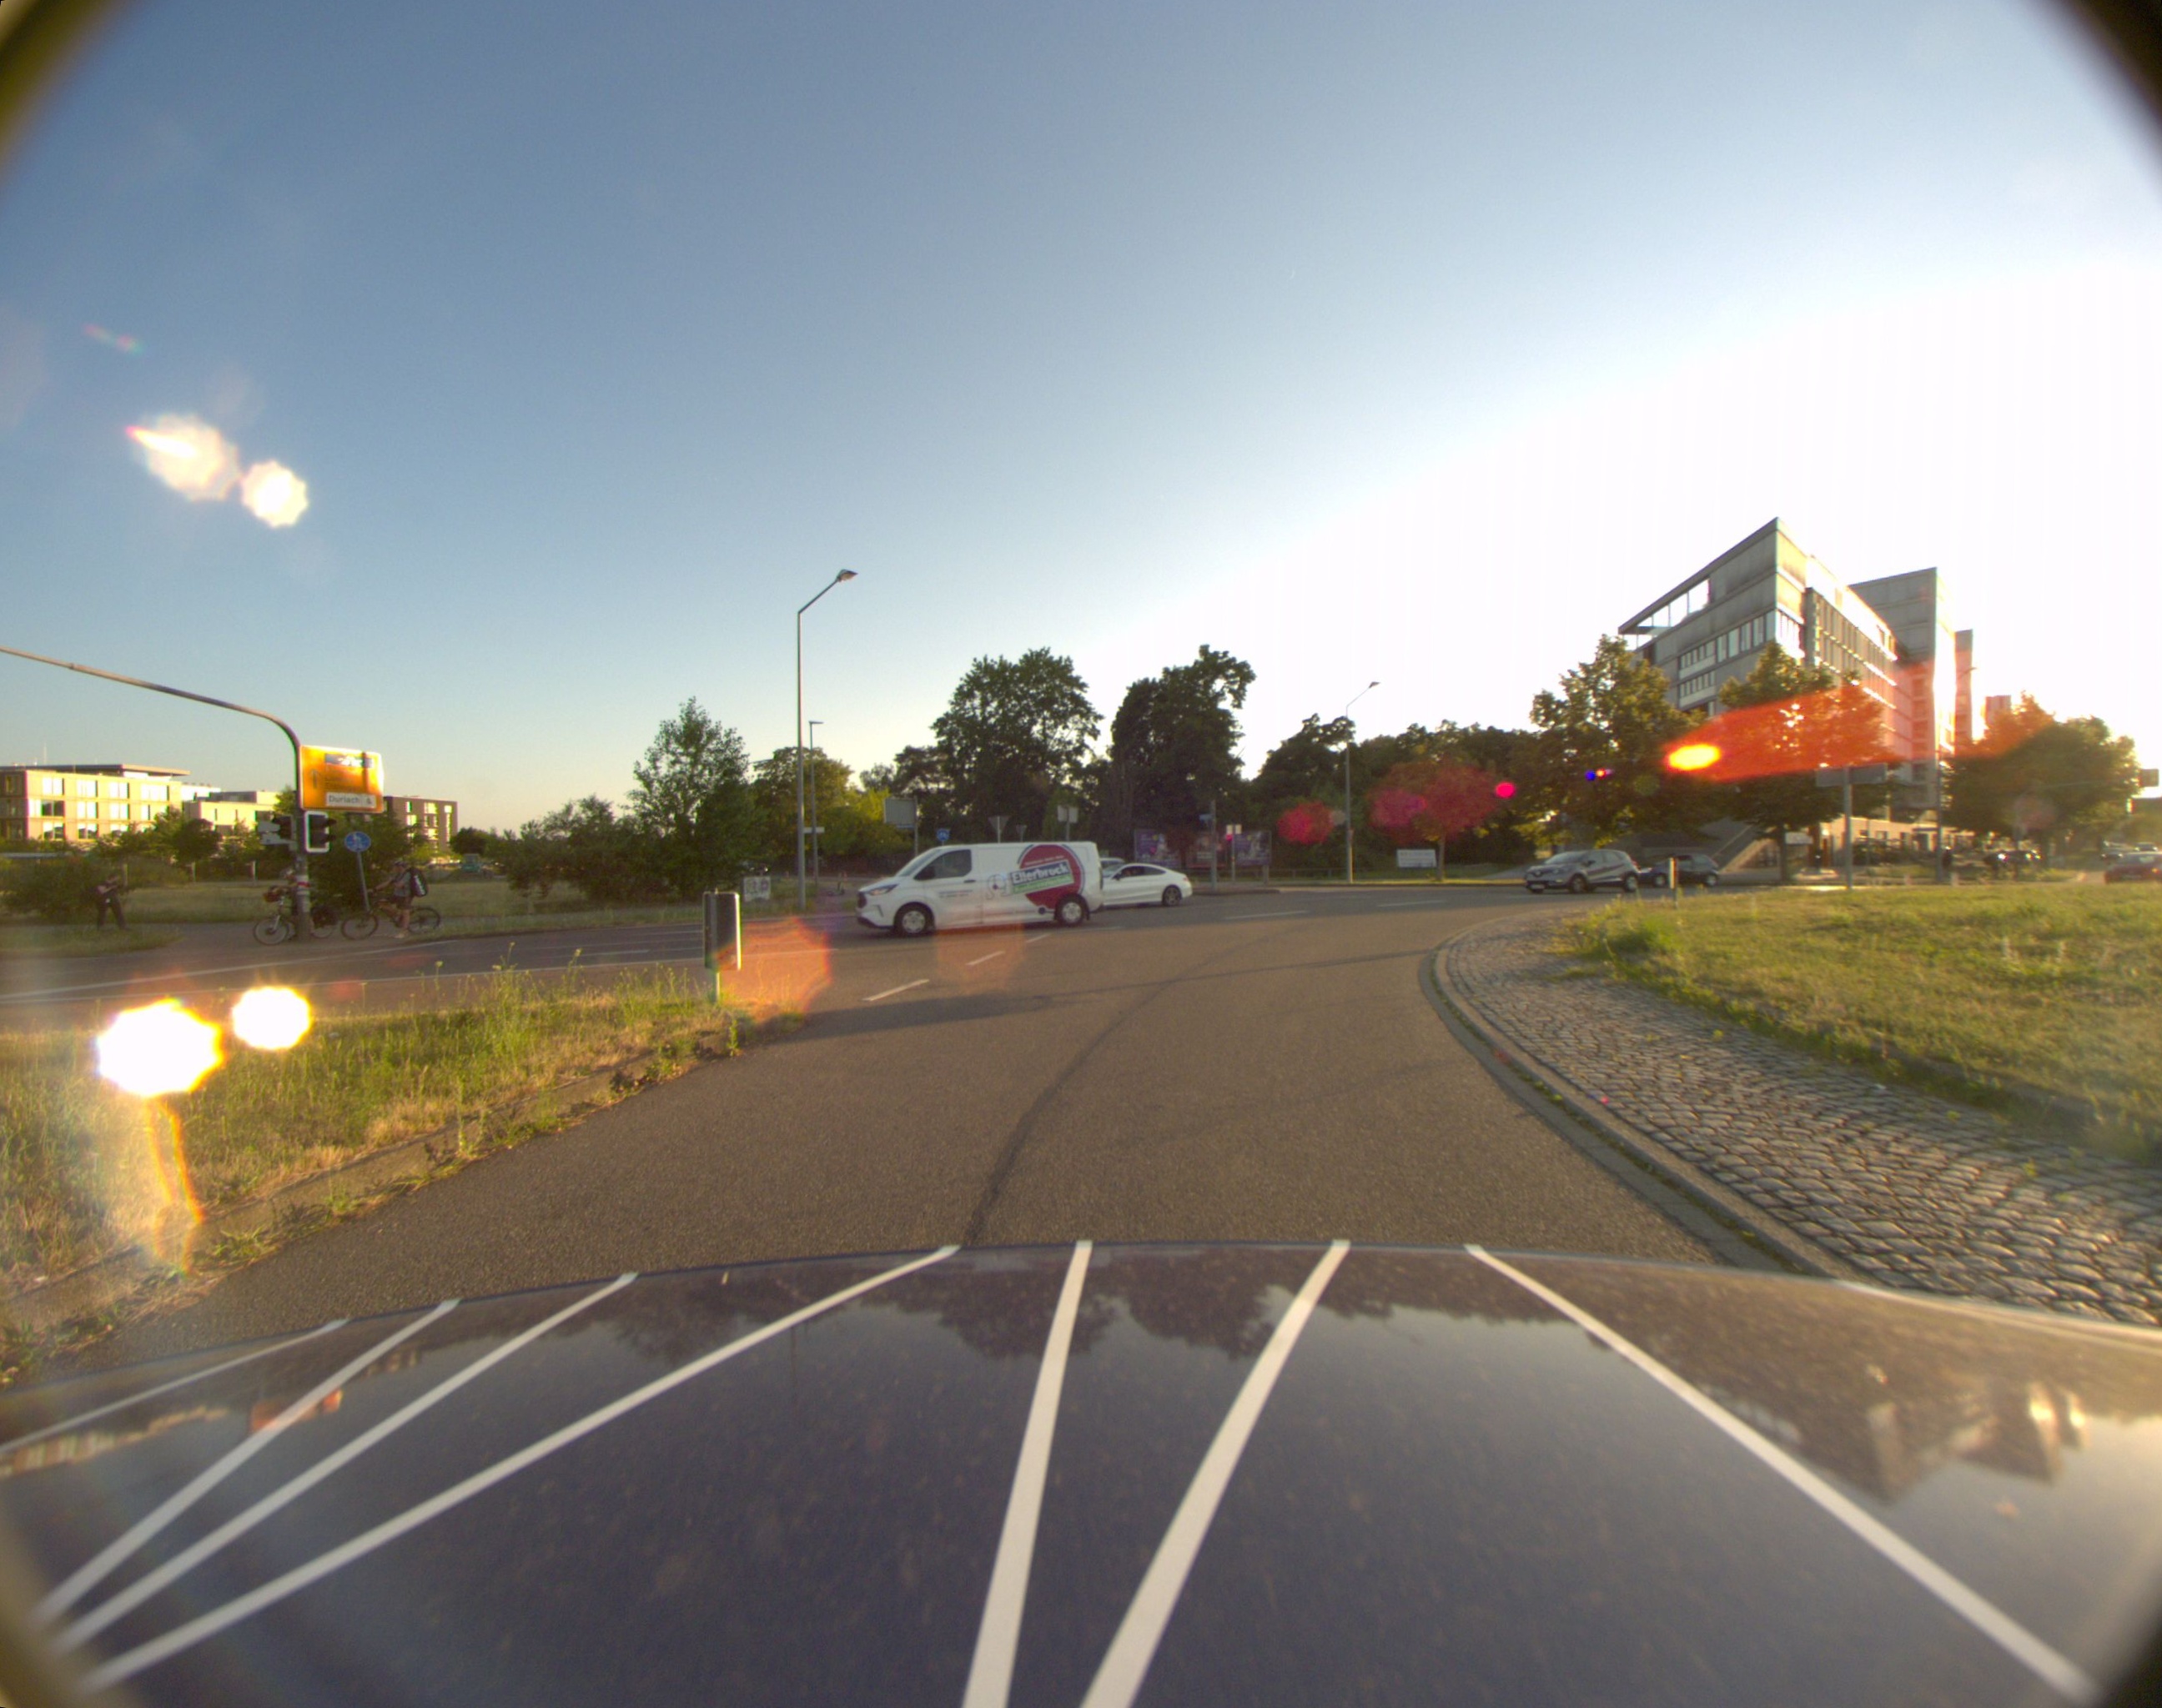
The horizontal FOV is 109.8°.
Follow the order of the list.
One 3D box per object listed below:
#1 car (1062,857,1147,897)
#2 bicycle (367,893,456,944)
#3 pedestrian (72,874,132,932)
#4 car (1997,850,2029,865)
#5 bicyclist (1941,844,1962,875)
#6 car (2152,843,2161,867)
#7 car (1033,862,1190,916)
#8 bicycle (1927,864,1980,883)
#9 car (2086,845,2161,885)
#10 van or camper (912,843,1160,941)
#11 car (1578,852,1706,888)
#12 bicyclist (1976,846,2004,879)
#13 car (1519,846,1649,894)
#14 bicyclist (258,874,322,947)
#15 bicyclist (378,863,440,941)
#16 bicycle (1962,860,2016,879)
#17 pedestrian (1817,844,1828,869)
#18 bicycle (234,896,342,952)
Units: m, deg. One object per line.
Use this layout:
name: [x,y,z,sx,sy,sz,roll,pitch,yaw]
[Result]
car: [0.903,0.911,31.741,1.893,1.549,4.087,-1,0,-25]
bicycle: [-16.975,1.603,19.330,0.456,1.079,1.928,-1,2,2]
pedestrian: [-26.864,1.327,20.860,0.567,1.541,0.797,-1,1,4]
car: [89.392,0.334,72.872,4.008,1.455,1.798,0,0,-37]
bicyclist: [47.389,0.306,41.382,0.682,1.638,0.685,0,0,44]
car: [73.390,0.047,50.855,4.007,1.600,1.773,-1,1,-32]
car: [0.972,1.011,23.470,4.566,1.422,1.741,-1,0,-29]
bicycle: [47.292,1.037,41.210,1.858,1.016,0.308,-1,0,44]
car: [45.944,0.425,32.890,4.003,1.612,1.774,-1,1,-19]
van or camper: [-1.011,0.770,17.525,5.335,1.946,1.996,-1,1,-24]
car: [23.571,0.651,32.052,3.995,1.431,1.746,-1,0,6]
bicyclist: [49.024,0.444,40.973,0.805,1.745,0.847,-1,0,-30]
car: [17.793,0.526,26.907,4.003,1.527,1.743,-1,0,-18]
bicyclist: [-19.077,1.350,18.341,0.641,1.693,0.770,-1,3,1]
bicyclist: [-17.005,1.194,19.249,0.641,1.887,0.910,-1,2,1]
bicycle: [49.487,0.825,41.424,0.438,1.016,1.859,-1,0,-29]
pedestrian: [58.065,0.204,59.478,0.528,2.002,0.537,-1,0,-37]
bicycle: [-19.089,1.660,18.357,0.456,1.079,1.928,-1,3,2]
